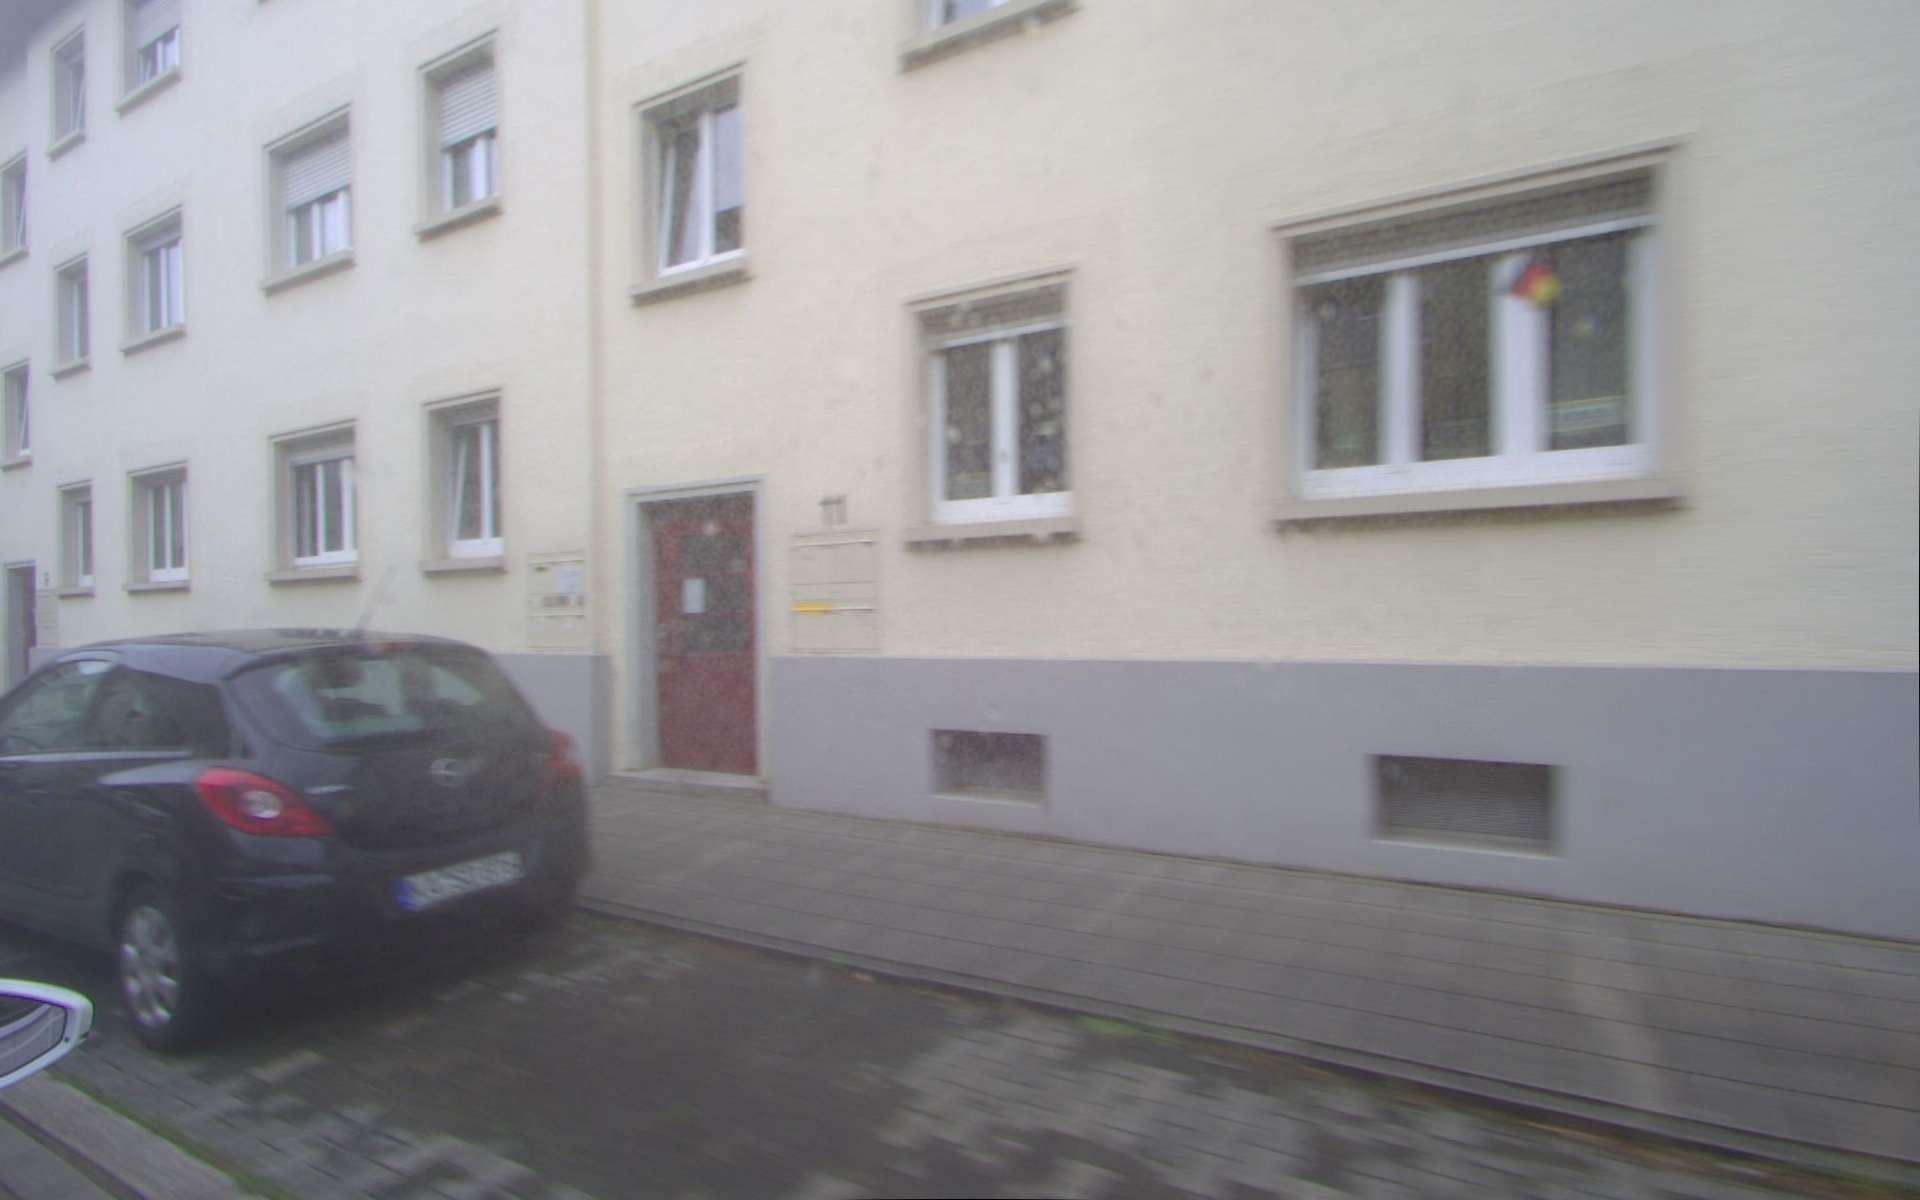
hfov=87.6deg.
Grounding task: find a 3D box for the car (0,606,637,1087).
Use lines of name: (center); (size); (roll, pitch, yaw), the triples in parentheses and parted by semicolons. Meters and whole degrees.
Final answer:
car: (-3.672, 0.839, 4.965); (4.000, 1.537, 1.723); (-1, -1, 30)
